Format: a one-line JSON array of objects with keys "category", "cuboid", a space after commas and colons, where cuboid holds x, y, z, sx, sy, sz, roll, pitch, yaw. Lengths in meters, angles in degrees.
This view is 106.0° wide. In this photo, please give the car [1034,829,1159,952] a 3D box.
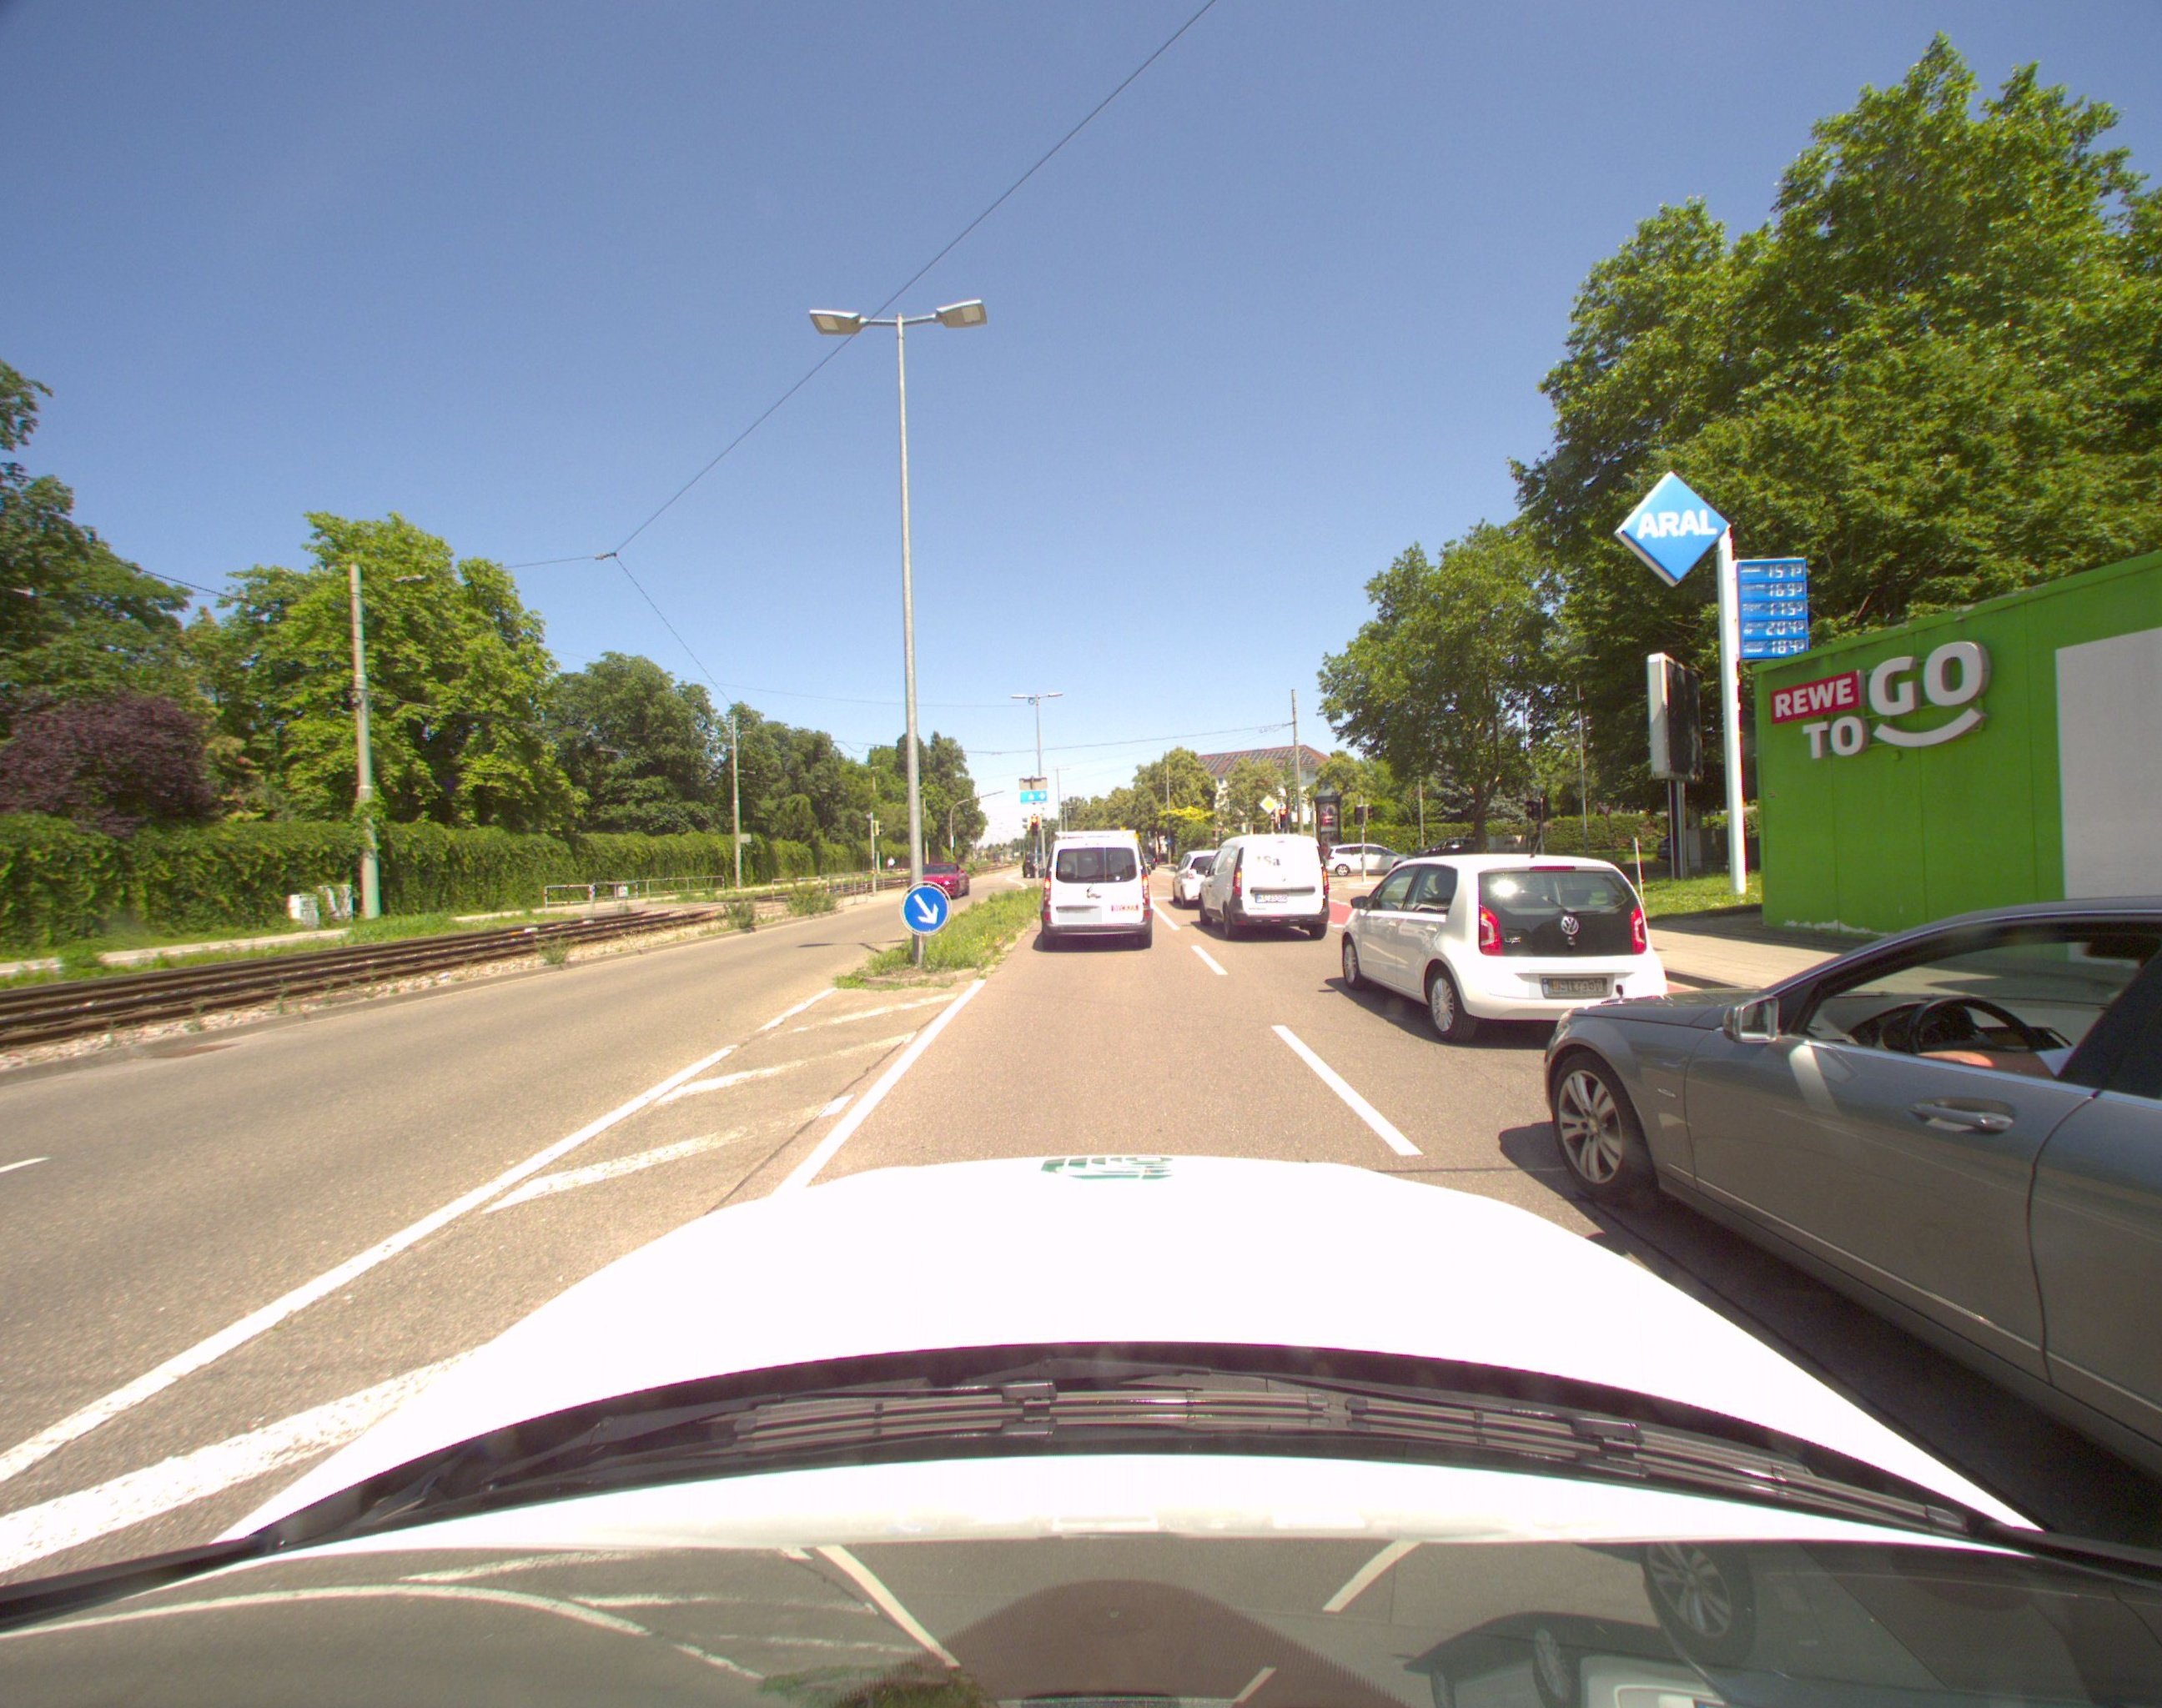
[{"category": "car", "cuboid": [0.238, 0.545, 14.250, 1.860, 1.836, 3.848, -1, 0, 0]}]

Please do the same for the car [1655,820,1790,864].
[{"category": "car", "cuboid": [29.661, -0.551, 37.828, 4.490, 1.829, 2.009, -2, 0, 16]}]

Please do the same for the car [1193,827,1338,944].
[{"category": "car", "cuboid": [3.276, 0.505, 15.211, 1.705, 1.830, 4.012, -2, 0, -1]}]

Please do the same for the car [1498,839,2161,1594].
[{"category": "car", "cuboid": [3.012, 0.702, 2.004, 1.789, 1.449, 4.419, -2, 0, 2]}]

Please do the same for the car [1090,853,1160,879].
[{"category": "car", "cuboid": [2.508, 0.688, 46.987, 3.952, 1.379, 1.553, -2, 0, 44]}]

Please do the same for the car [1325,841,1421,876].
[{"category": "car", "cuboid": [14.703, 0.230, 41.250, 4.409, 1.617, 2.008, -2, 0, 14]}]

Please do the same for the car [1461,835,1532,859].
[{"category": "car", "cuboid": [29.135, -0.461, 57.241, 3.964, 1.508, 2.005, -2, 0, 9]}]

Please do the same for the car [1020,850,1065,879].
[{"category": "car", "cuboid": [-2.713, 0.704, 56.107, 2.000, 1.860, 3.973, -2, 0, -20]}]

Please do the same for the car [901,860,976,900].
[{"category": "car", "cuboid": [-5.477, 0.965, 31.936, 1.976, 1.358, 4.540, -2, 0, 2]}]

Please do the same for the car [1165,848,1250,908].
[{"category": "car", "cuboid": [3.441, 0.611, 22.793, 1.750, 1.486, 4.000, -2, 0, 1]}]

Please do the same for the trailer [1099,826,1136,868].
[{"category": "trailer", "cuboid": [3.668, -0.693, 84.035, 3.515, 4.050, 8.979, -2, 0, 1]}]

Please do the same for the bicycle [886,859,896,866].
[{"category": "bicycle", "cuboid": [-18.912, 0.859, 81.190, 0.559, 0.647, 1.720, -2, 0, 2]}]

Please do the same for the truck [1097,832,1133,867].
[{"category": "truck", "cuboid": [3.769, -0.497, 92.900, 3.565, 3.632, 8.806, -2, 0, -1]}]

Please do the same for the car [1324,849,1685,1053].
[{"category": "car", "cuboid": [3.606, 0.707, 7.689, 1.601, 1.451, 3.521, -1, 0, 1]}]

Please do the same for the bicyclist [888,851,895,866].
[{"category": "bicyclist", "cuboid": [-18.914, 0.489, 81.239, 0.556, 1.478, 0.561, -2, 0, 1]}]

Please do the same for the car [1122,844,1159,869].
[{"category": "car", "cuboid": [5.061, 0.212, 69.327, 1.996, 2.013, 3.981, -2, 0, -14]}]
